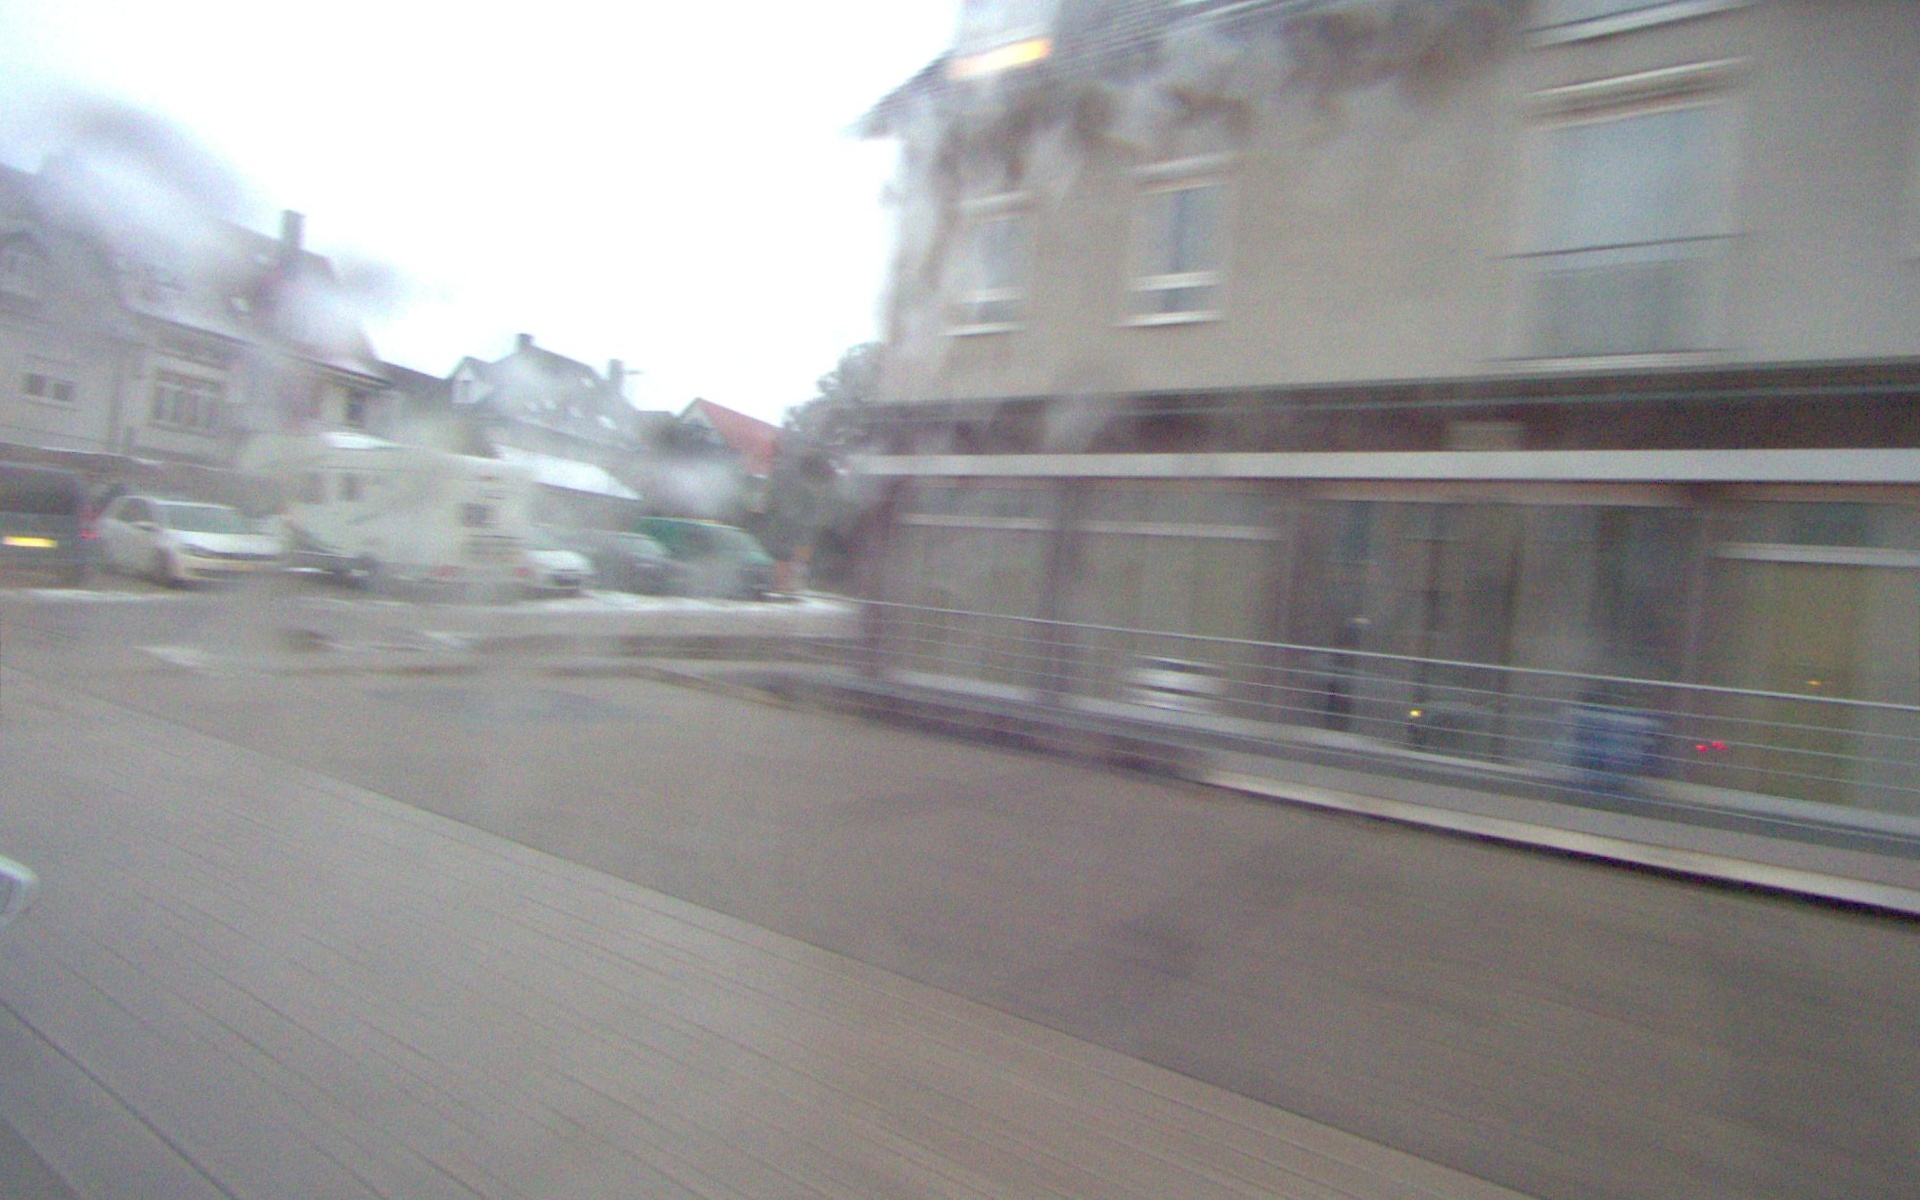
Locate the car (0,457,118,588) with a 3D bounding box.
[{"bbox_3d":[-15.339,-1.338,15.637,4.275,1.788,1.995,7,2,29],"label":"car"}]

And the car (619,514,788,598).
[{"bbox_3d":[-7.178,-1.234,27.920,4.724,1.910,1.776,7,3,34],"label":"car"}]

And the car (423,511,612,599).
[{"bbox_3d":[-9.878,-1.042,22.401,3.930,1.577,1.787,7,6,28],"label":"car"}]

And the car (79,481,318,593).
[{"bbox_3d":[-13.589,-1.131,17.915,4.105,1.632,1.994,5,1,31],"label":"car"}]

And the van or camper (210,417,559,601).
[{"bbox_3d":[-11.844,-1.870,20.647,6.611,3.090,2.654,7,3,23],"label":"van or camper"}]

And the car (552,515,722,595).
[{"bbox_3d":[-8.164,-1.149,25.340,3.935,1.629,1.991,7,4,34],"label":"car"}]

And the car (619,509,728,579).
[{"bbox_3d":[-11.519,-2.265,40.359,4.185,2.364,1.885,8,3,36],"label":"car"}]
